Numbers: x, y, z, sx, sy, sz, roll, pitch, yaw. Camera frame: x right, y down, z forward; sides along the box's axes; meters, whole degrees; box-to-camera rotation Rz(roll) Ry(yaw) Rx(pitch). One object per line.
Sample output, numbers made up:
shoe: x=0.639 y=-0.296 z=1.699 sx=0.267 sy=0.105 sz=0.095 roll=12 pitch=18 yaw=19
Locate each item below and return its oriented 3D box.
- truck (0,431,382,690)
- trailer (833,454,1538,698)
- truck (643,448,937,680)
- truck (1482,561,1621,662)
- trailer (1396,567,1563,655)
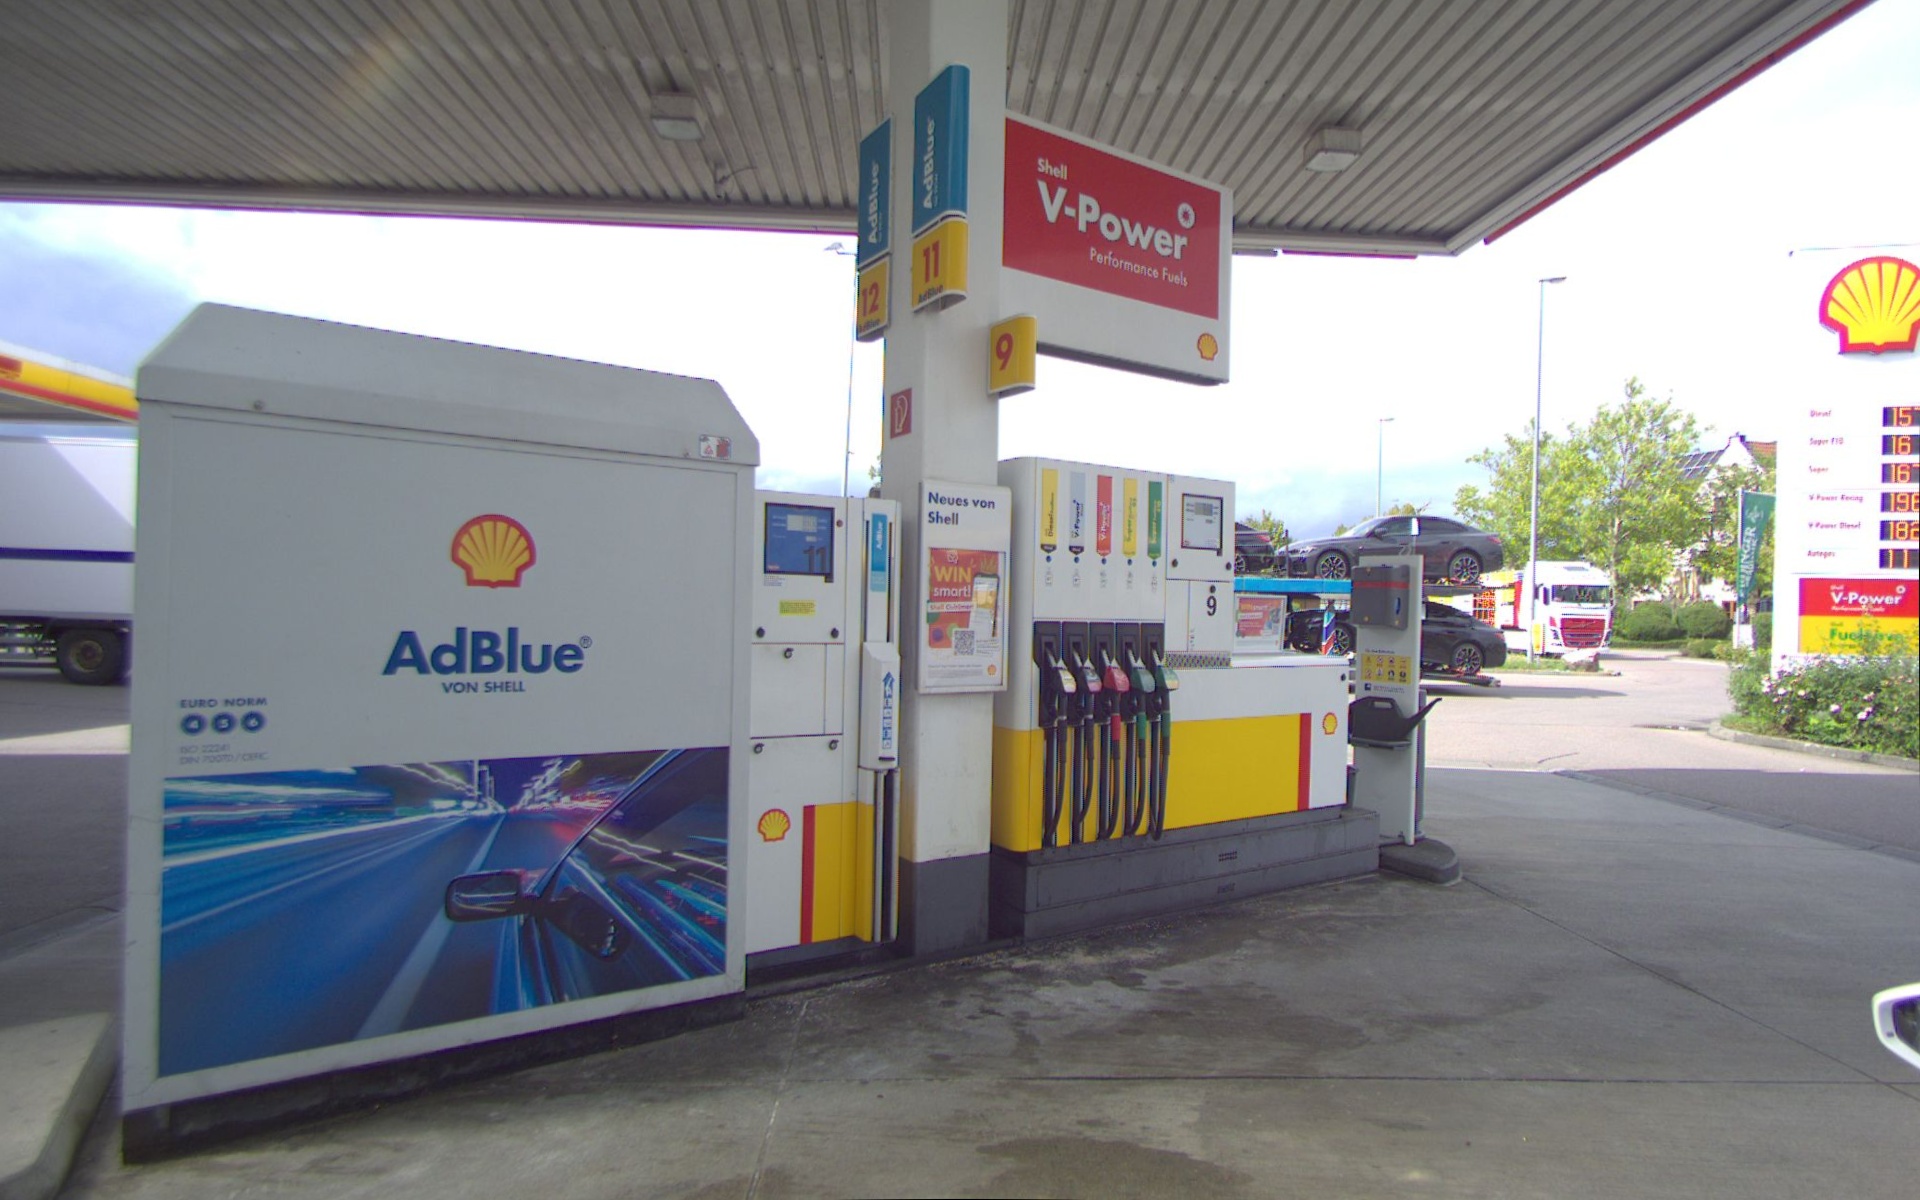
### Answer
truck: x=-17.284 y=-0.748 z=17.499 sx=12.654 sy=4.092 sz=2.534 roll=2 pitch=0 yaw=-3
trailer: x=4.543 y=-0.476 z=21.580 sx=14.077 sy=4.481 sz=2.746 roll=2 pitch=0 yaw=0
truck: x=-3.432 y=-0.713 z=21.542 sx=5.713 sy=4.479 sz=2.750 roll=2 pitch=0 yaw=0
truck: x=24.962 y=0.468 z=42.769 sx=2.686 sy=3.897 sz=5.921 roll=2 pitch=0 yaw=5
trailer: x=25.599 y=0.526 z=50.557 sx=2.684 sy=3.826 sz=12.718 roll=2 pitch=0 yaw=5
